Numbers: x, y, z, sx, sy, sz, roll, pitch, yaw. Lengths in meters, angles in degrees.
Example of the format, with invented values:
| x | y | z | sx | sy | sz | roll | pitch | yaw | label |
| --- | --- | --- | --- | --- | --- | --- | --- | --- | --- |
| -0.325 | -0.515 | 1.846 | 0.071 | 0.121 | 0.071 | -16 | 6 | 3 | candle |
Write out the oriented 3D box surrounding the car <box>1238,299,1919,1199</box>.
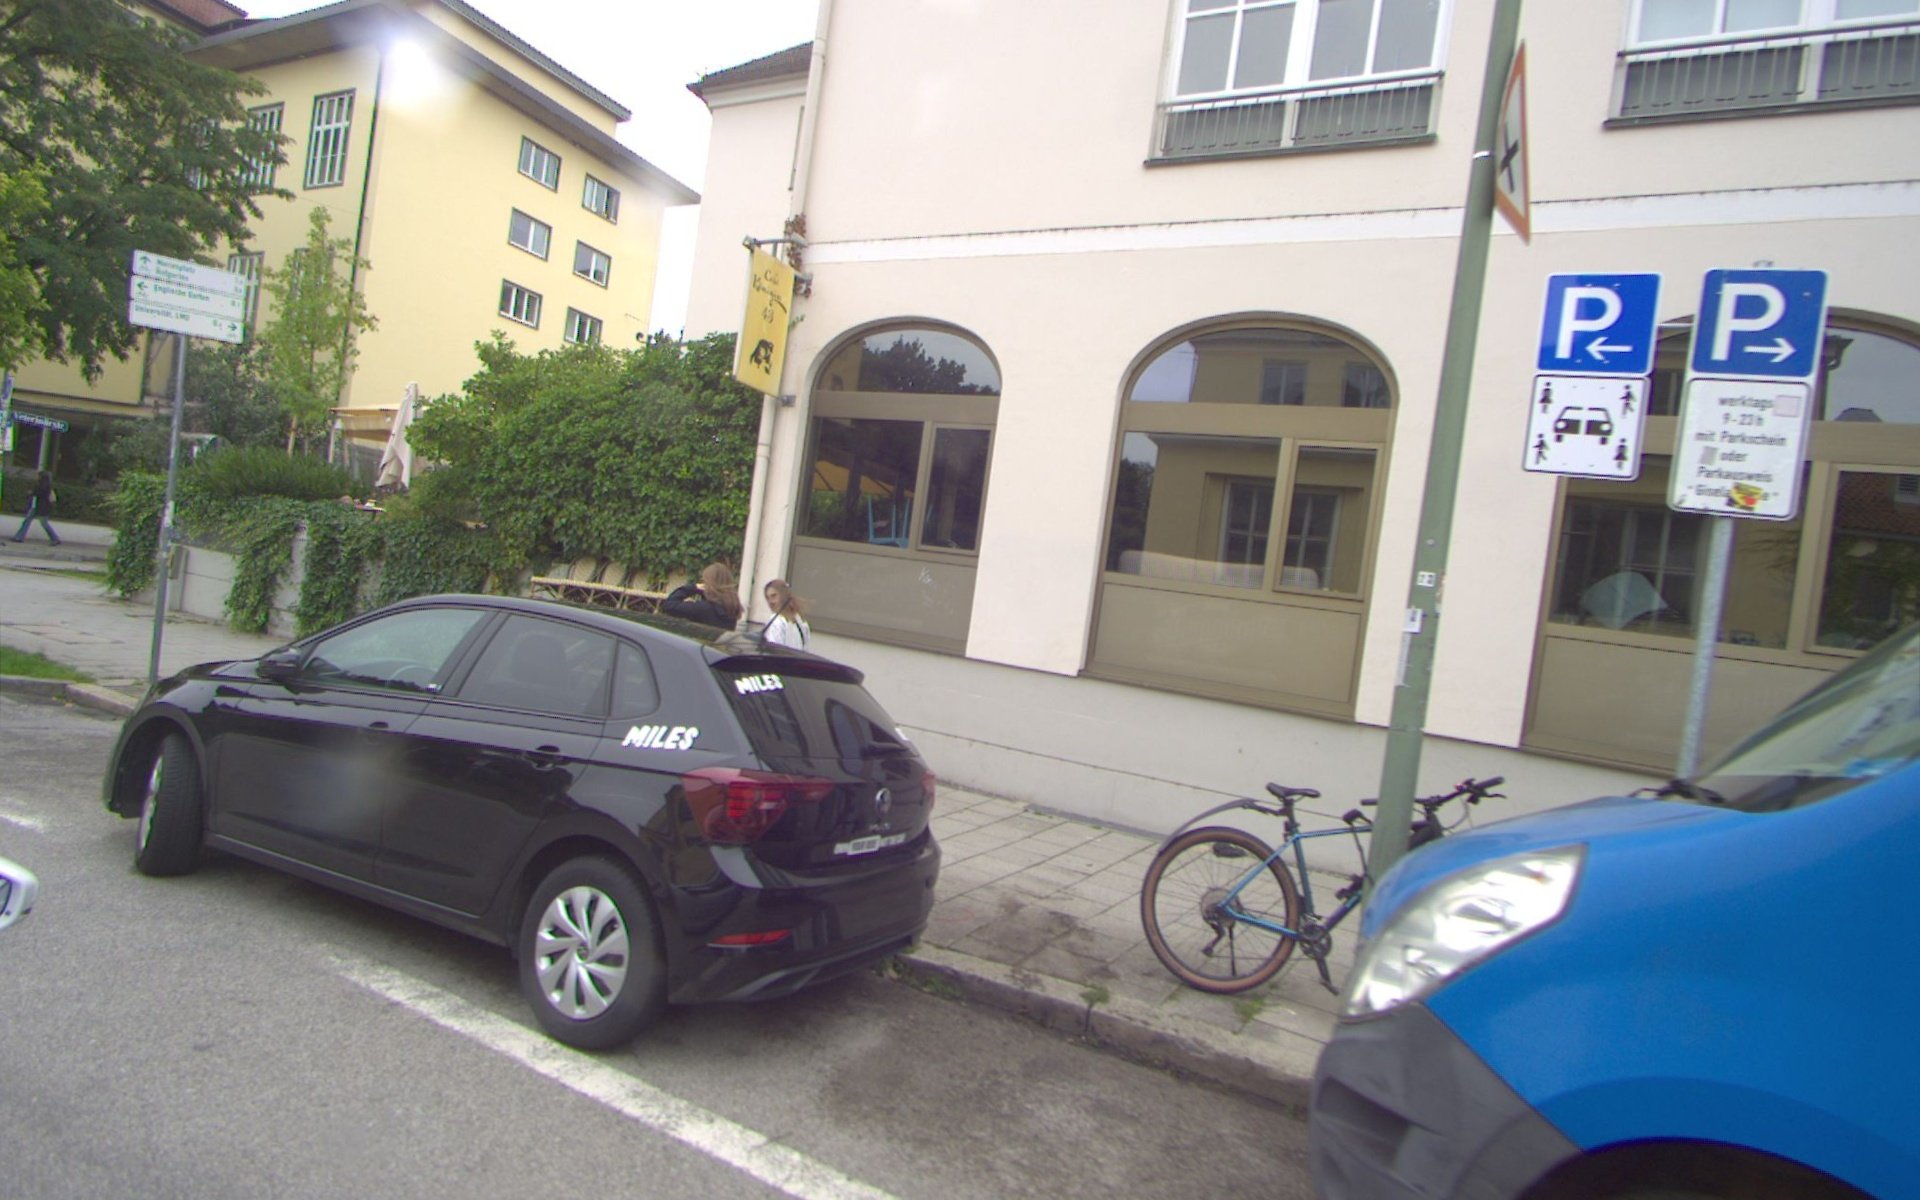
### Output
| x | y | z | sx | sy | sz | roll | pitch | yaw | label |
| --- | --- | --- | --- | --- | --- | --- | --- | --- | --- |
| 3.314 | 0.876 | 1.807 | 4.944 | 2.235 | 2.117 | 5 | -6 | 30 | car |

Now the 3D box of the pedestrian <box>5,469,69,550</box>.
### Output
| x | y | z | sx | sy | sz | roll | pitch | yaw | label |
| --- | --- | --- | --- | --- | --- | --- | --- | --- | --- |
| -23.028 | -2.251 | 25.107 | 0.753 | 1.881 | 0.851 | 7 | 2 | 27 | pedestrian |

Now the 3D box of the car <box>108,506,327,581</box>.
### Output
| x | y | z | sx | sy | sz | roll | pitch | yaw | label |
| --- | --- | --- | --- | --- | --- | --- | --- | --- | --- |
| -19.515 | -1.443 | 26.657 | 1.634 | 1.383 | 4.328 | 5 | -2 | 30 | car |

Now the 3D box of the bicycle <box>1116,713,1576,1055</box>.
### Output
| x | y | z | sx | sy | sz | roll | pitch | yaw | label |
| --- | --- | --- | --- | --- | --- | --- | --- | --- | --- |
| 1.714 | 1.224 | 4.668 | 1.754 | 1.082 | 0.567 | 8 | 1 | 20 | bicycle |

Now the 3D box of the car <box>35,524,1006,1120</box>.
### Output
| x | y | z | sx | sy | sz | roll | pitch | yaw | label |
| --- | --- | --- | --- | --- | --- | --- | --- | --- | --- |
| -2.005 | 0.690 | 4.562 | 3.928 | 1.409 | 1.722 | 8 | -4 | 25 | car |

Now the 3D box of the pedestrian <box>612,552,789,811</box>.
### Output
| x | y | z | sx | sy | sz | roll | pitch | yaw | label |
| --- | --- | --- | --- | --- | --- | --- | --- | --- | --- |
| -1.821 | 0.548 | 7.095 | 0.815 | 1.649 | 0.679 | 7 | 1 | 26 | pedestrian |

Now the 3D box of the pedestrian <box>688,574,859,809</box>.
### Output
| x | y | z | sx | sy | sz | roll | pitch | yaw | label |
| --- | --- | --- | --- | --- | --- | --- | --- | --- | --- |
| -1.424 | 0.679 | 7.764 | 0.815 | 1.626 | 0.808 | 7 | 1 | 28 | pedestrian |
